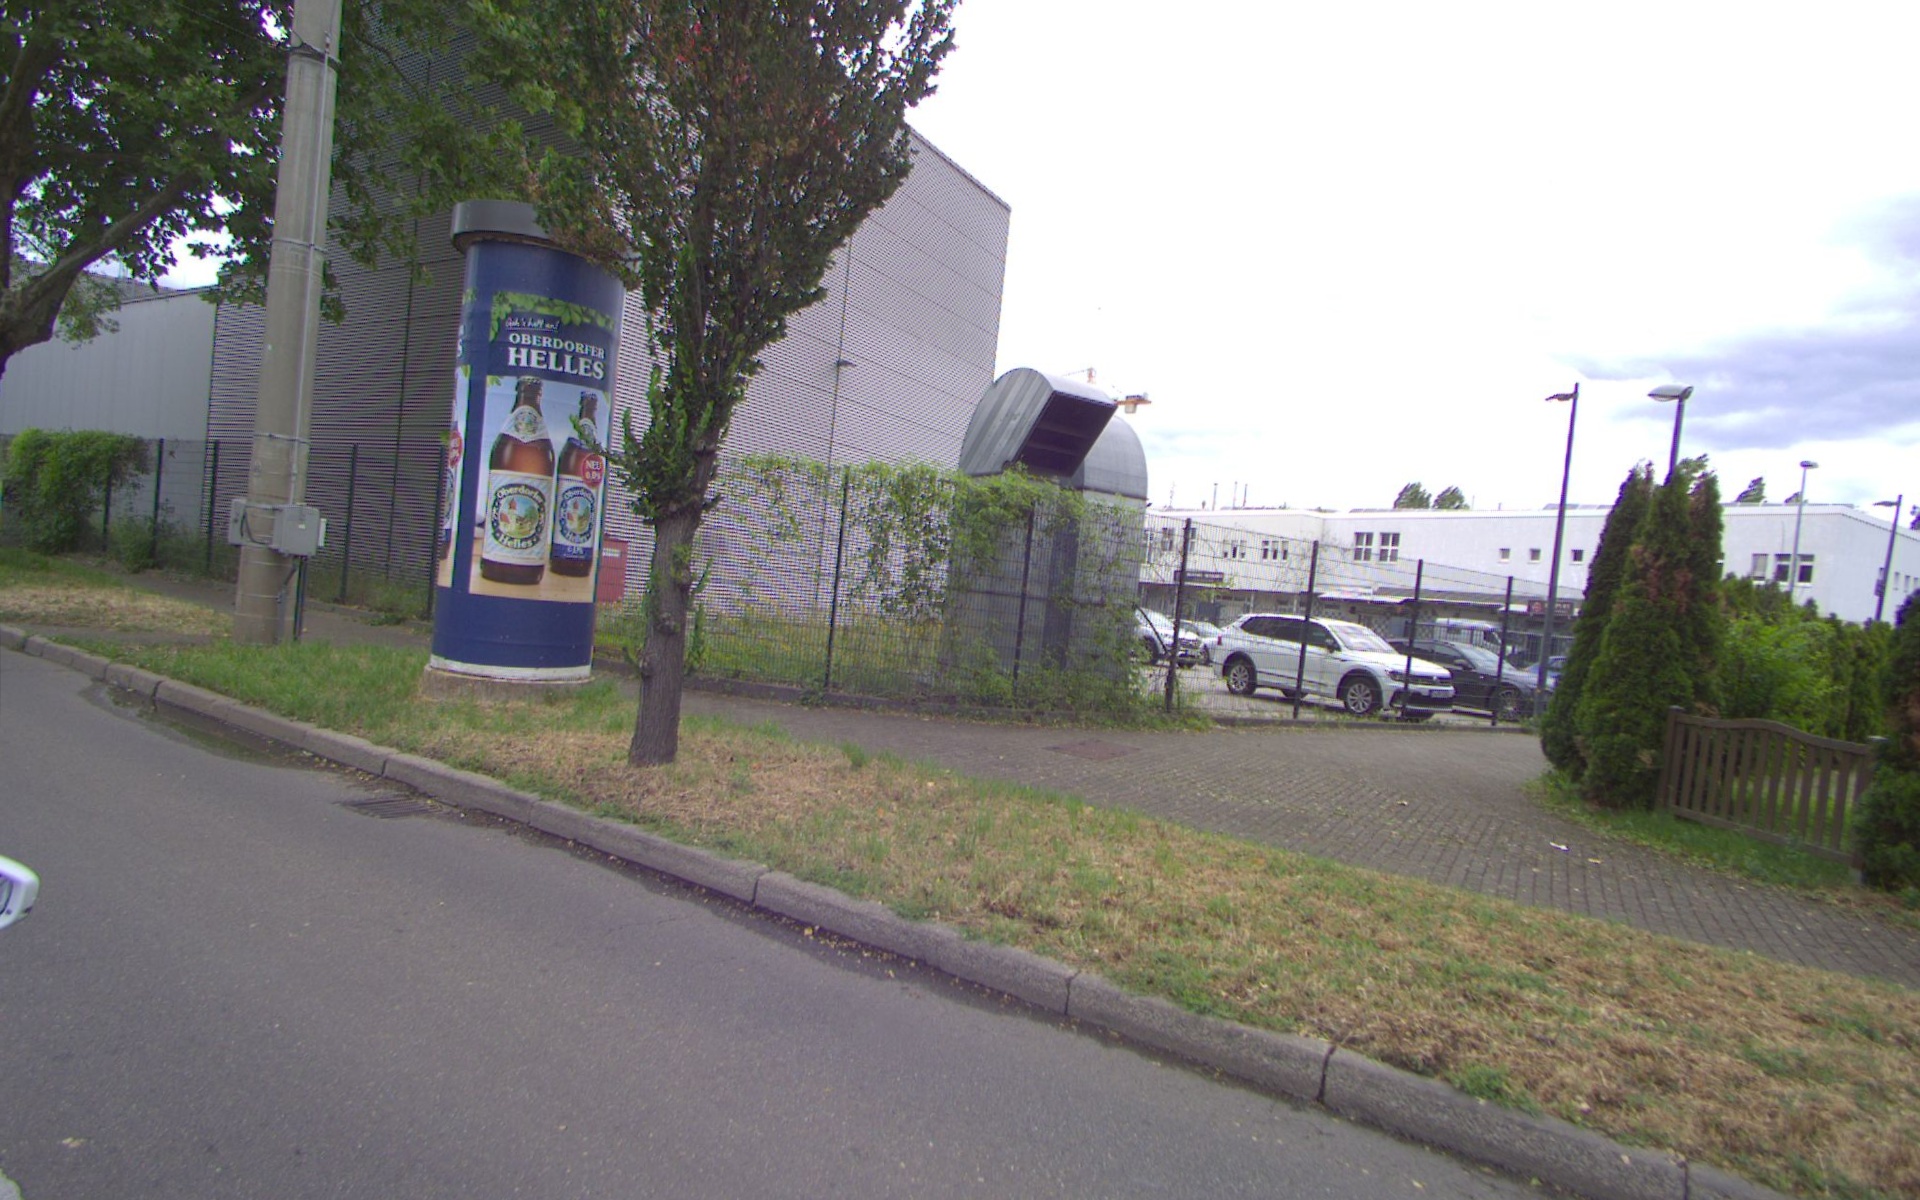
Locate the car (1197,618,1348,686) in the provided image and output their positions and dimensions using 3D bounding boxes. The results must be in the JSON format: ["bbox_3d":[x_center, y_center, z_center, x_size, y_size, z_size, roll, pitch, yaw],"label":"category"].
[{"bbox_3d":[10.033,1.640,32.580,1.982,1.668,4.233,8,-2,-34],"label":"car"}]

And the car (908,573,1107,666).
[{"bbox_3d":[1.124,0.461,24.222,4.197,1.668,1.999,6,-2,29],"label":"car"}]

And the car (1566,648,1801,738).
[{"bbox_3d":[18.754,2.368,26.308,1.978,1.686,4.464,6,1,-31],"label":"car"}]

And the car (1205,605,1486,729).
[{"bbox_3d":[6.951,1.155,18.644,1.978,1.686,4.464,6,1,-31],"label":"car"}]

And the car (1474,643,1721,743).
[{"bbox_3d":[15.086,2.159,24.086,1.978,1.686,4.464,6,1,-31],"label":"car"}]

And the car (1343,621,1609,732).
[{"bbox_3d":[10.617,1.519,21.050,1.978,1.686,4.464,6,1,-31],"label":"car"}]

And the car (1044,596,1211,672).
[{"bbox_3d":[4.852,0.952,29.580,4.418,1.687,1.999,6,1,-1],"label":"car"}]

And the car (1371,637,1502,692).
[{"bbox_3d":[19.165,2.563,40.607,1.982,1.668,4.233,8,-2,-34],"label":"car"}]
